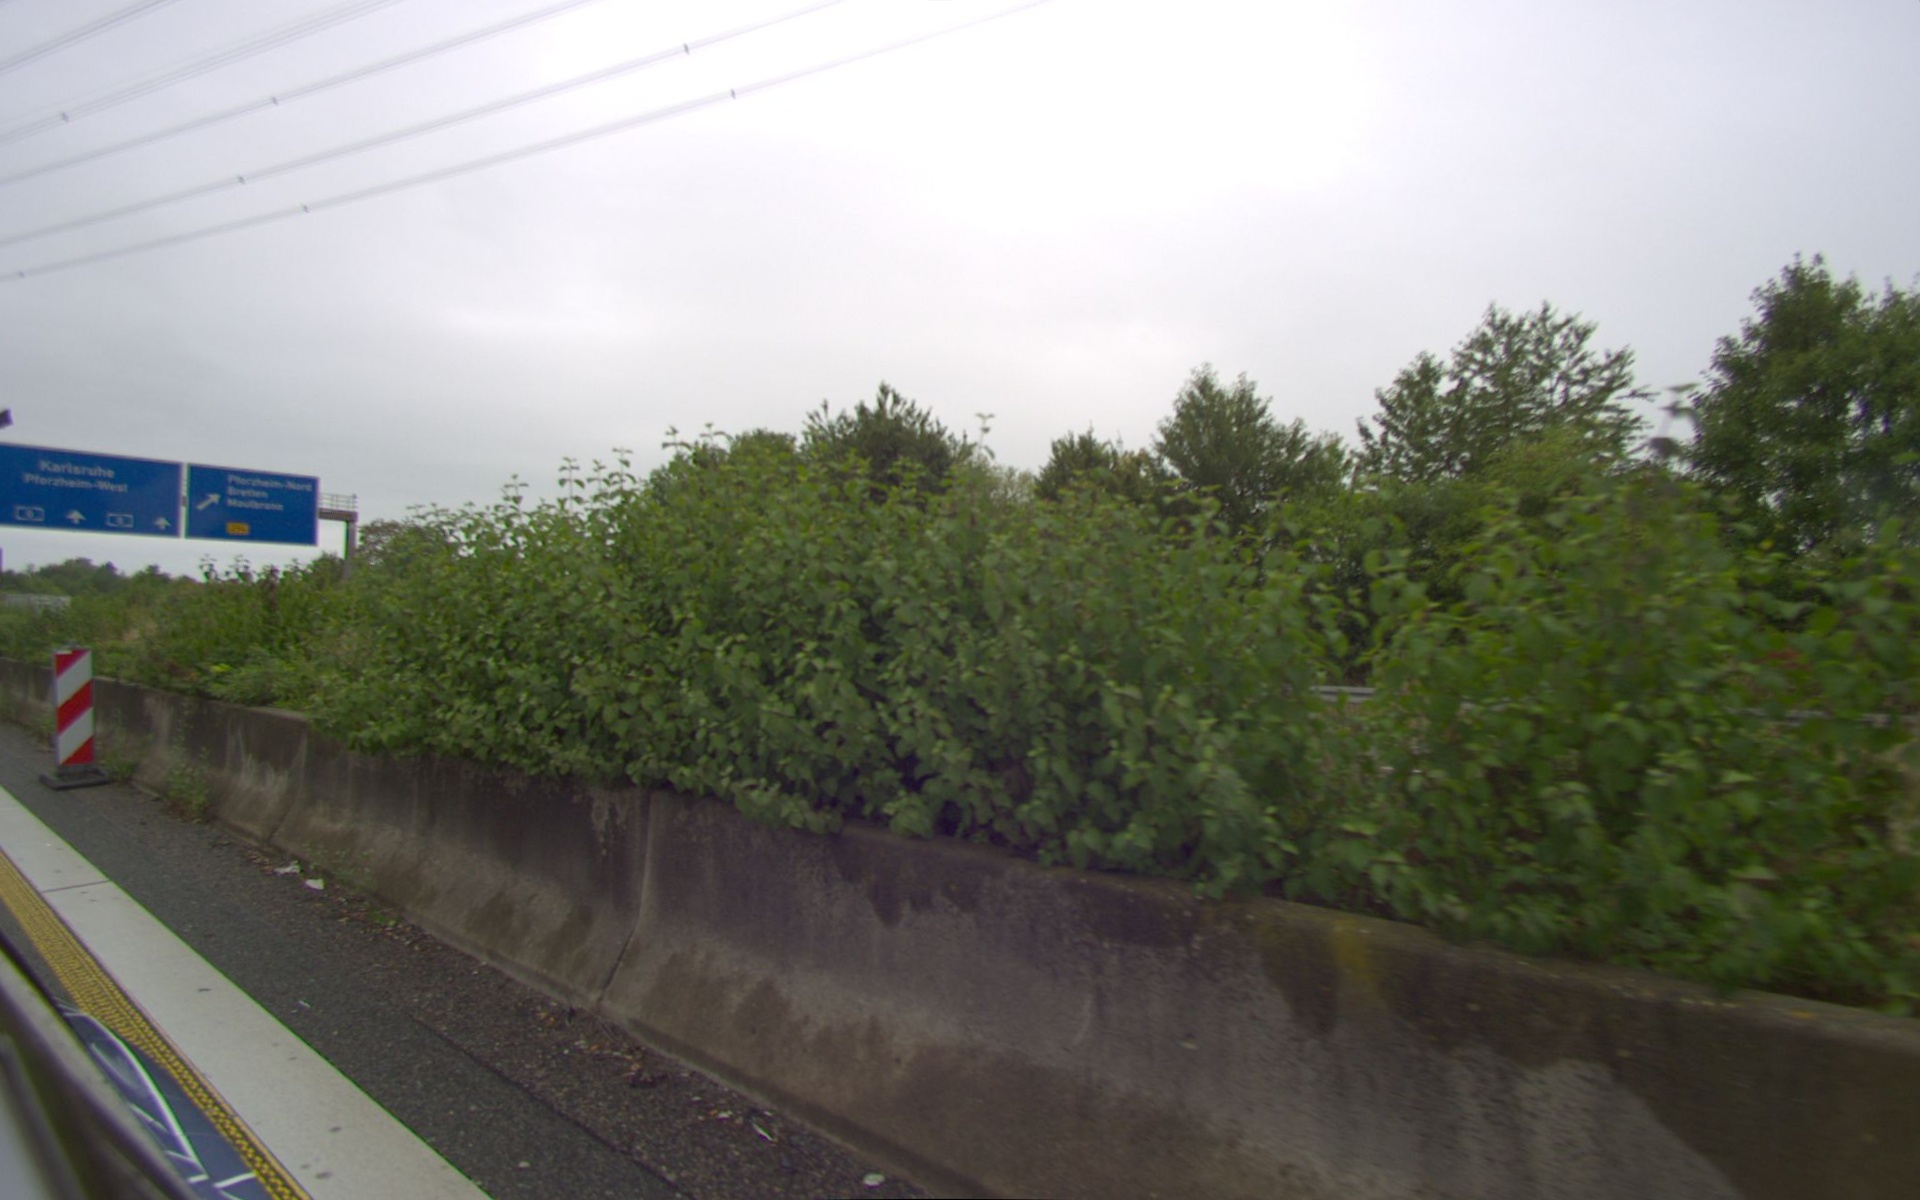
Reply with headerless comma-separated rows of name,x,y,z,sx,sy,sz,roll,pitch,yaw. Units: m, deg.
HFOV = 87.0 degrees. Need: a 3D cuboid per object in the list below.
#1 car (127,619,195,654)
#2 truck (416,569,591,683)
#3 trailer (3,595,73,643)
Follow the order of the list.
car,-36.573,1.615,46.291,4.158,1.467,1.700,0,0,41
truck,-14.731,0.856,32.386,7.049,3.252,2.237,-1,-5,41
trailer,-83.895,1.784,92.001,13.240,4.054,2.757,-1,-4,40
